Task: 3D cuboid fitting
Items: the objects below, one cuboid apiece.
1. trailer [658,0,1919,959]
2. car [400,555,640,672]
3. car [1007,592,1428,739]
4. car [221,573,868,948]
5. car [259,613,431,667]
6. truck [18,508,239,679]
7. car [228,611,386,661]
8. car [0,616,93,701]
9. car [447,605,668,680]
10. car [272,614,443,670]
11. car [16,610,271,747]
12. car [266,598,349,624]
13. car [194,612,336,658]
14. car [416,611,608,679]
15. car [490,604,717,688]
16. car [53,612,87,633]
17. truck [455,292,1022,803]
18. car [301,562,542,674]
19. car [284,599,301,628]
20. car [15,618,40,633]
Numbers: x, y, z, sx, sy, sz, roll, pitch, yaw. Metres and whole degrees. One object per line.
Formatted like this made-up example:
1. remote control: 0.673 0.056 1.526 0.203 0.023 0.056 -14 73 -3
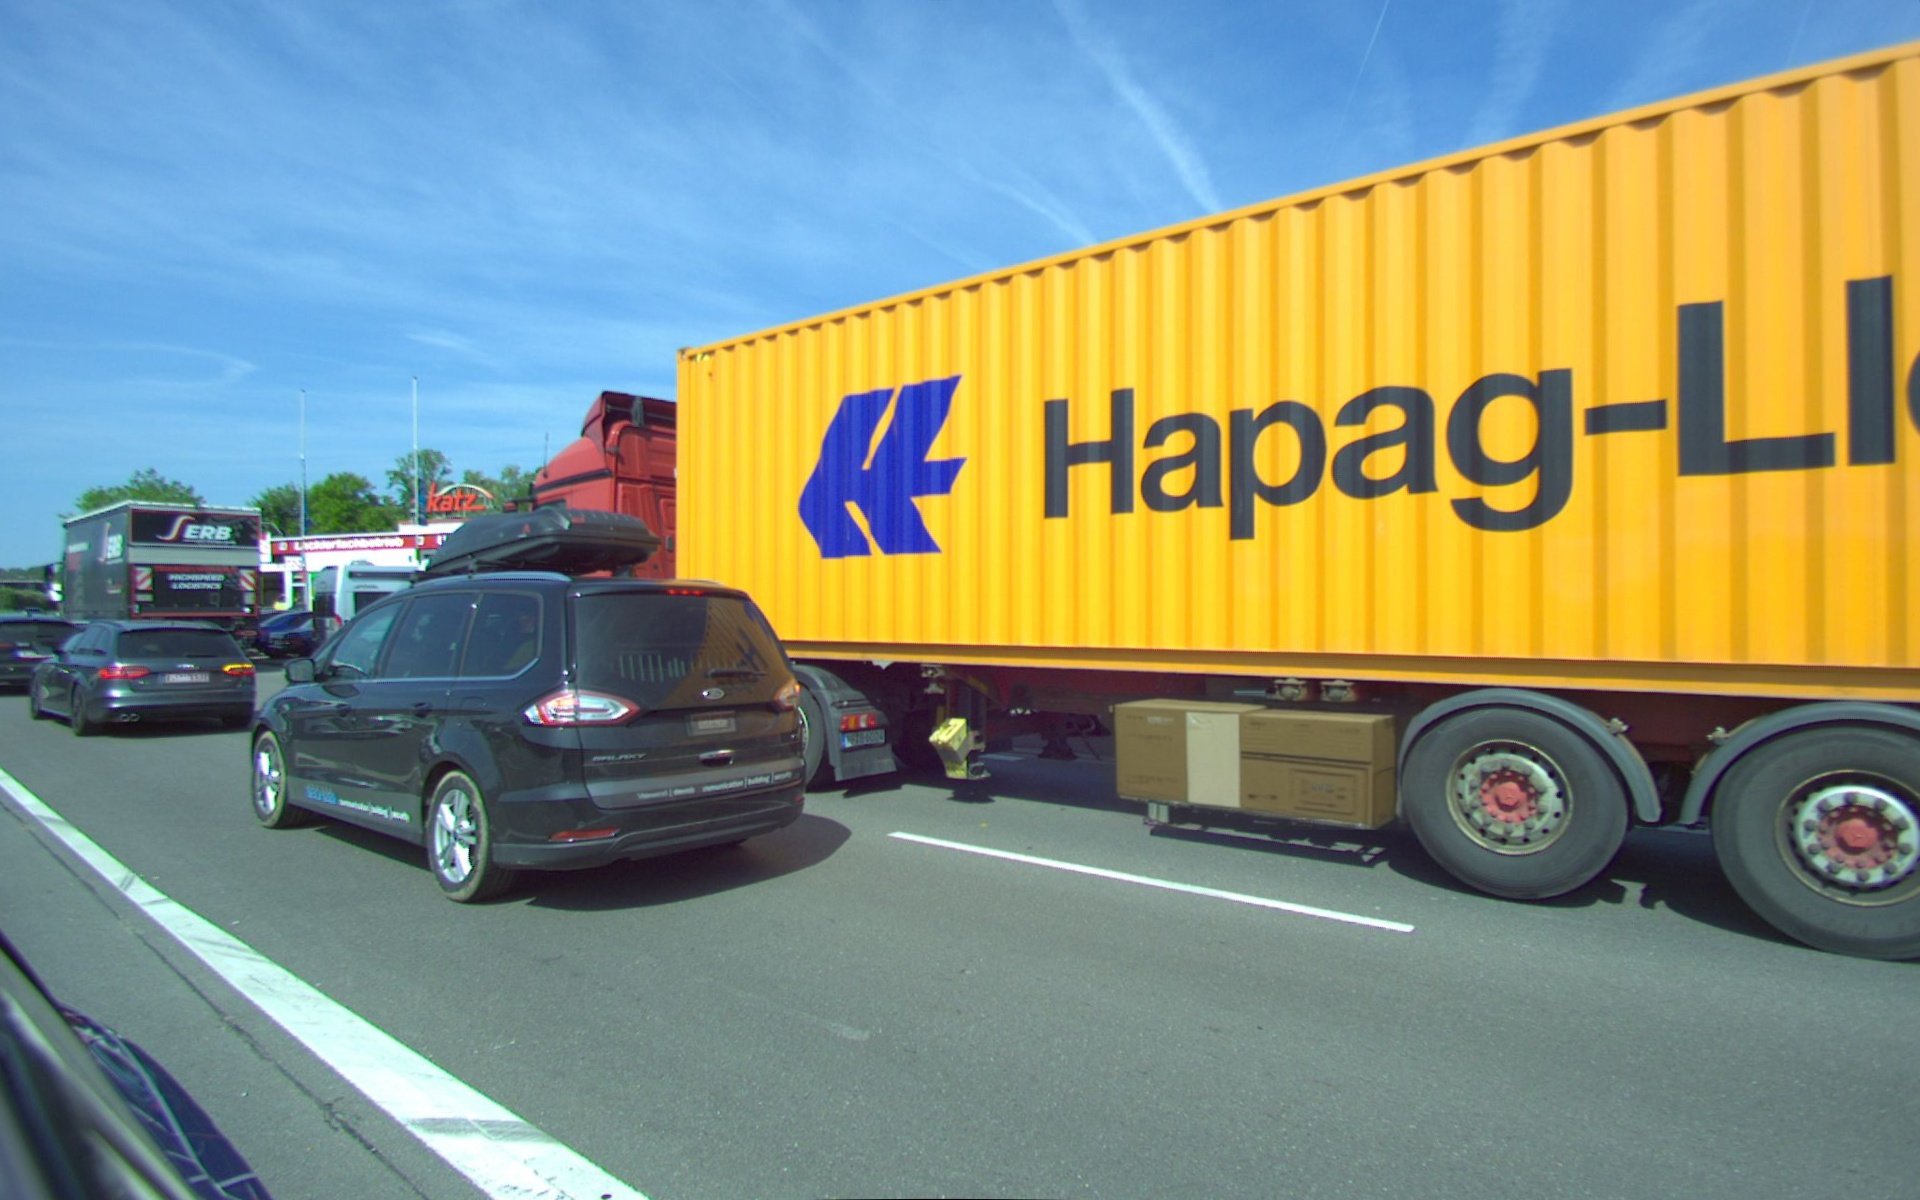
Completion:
1. trailer: 2.884 -0.500 6.747 12.213 4.028 2.695 -1 0 37
2. car: -11.888 0.347 27.715 2.116 2.860 5.647 -2 -1 42
3. car: 3.025 0.721 12.492 4.569 1.447 1.977 -2 1 -6
4. car: -2.903 0.760 6.557 4.582 1.614 1.890 -2 -2 38
5. car: -18.920 1.184 31.275 1.873 1.479 4.203 -1 0 42
6. truck: -23.295 -0.107 28.066 9.962 4.028 2.685 -1 0 38
7. car: -21.072 1.118 32.747 1.905 1.465 3.946 -1 0 41
8. car: -17.854 1.026 18.897 4.373 1.454 1.695 -1 -2 38
9. car: -9.158 0.899 23.318 2.027 1.542 4.324 -1 0 39
10. car: -17.342 1.155 29.259 1.827 1.442 3.896 -1 0 42
11. car: -11.011 0.935 13.529 4.585 1.535 1.842 -2 -2 40
12. car: -44.236 0.707 68.759 1.863 1.666 4.502 -1 0 22
13. car: -24.587 1.192 35.880 1.949 1.510 3.827 -1 0 43
14. car: -11.042 1.048 25.098 1.881 1.481 3.944 -1 0 42
15. car: -7.317 0.866 21.056 2.030 1.542 3.993 -1 0 40
16. car: -66.670 1.672 75.810 1.801 1.538 4.464 2 -2 -42
17. truck: -2.593 -0.378 10.896 6.047 4.028 2.695 -1 -1 37
18. car: -14.743 0.438 28.003 2.176 2.793 5.507 -1 0 42
19. car: -42.449 0.858 64.358 0.868 1.849 0.847 -1 0 -37
20. car: -94.377 2.561 102.462 1.832 1.471 4.004 0 0 -43
